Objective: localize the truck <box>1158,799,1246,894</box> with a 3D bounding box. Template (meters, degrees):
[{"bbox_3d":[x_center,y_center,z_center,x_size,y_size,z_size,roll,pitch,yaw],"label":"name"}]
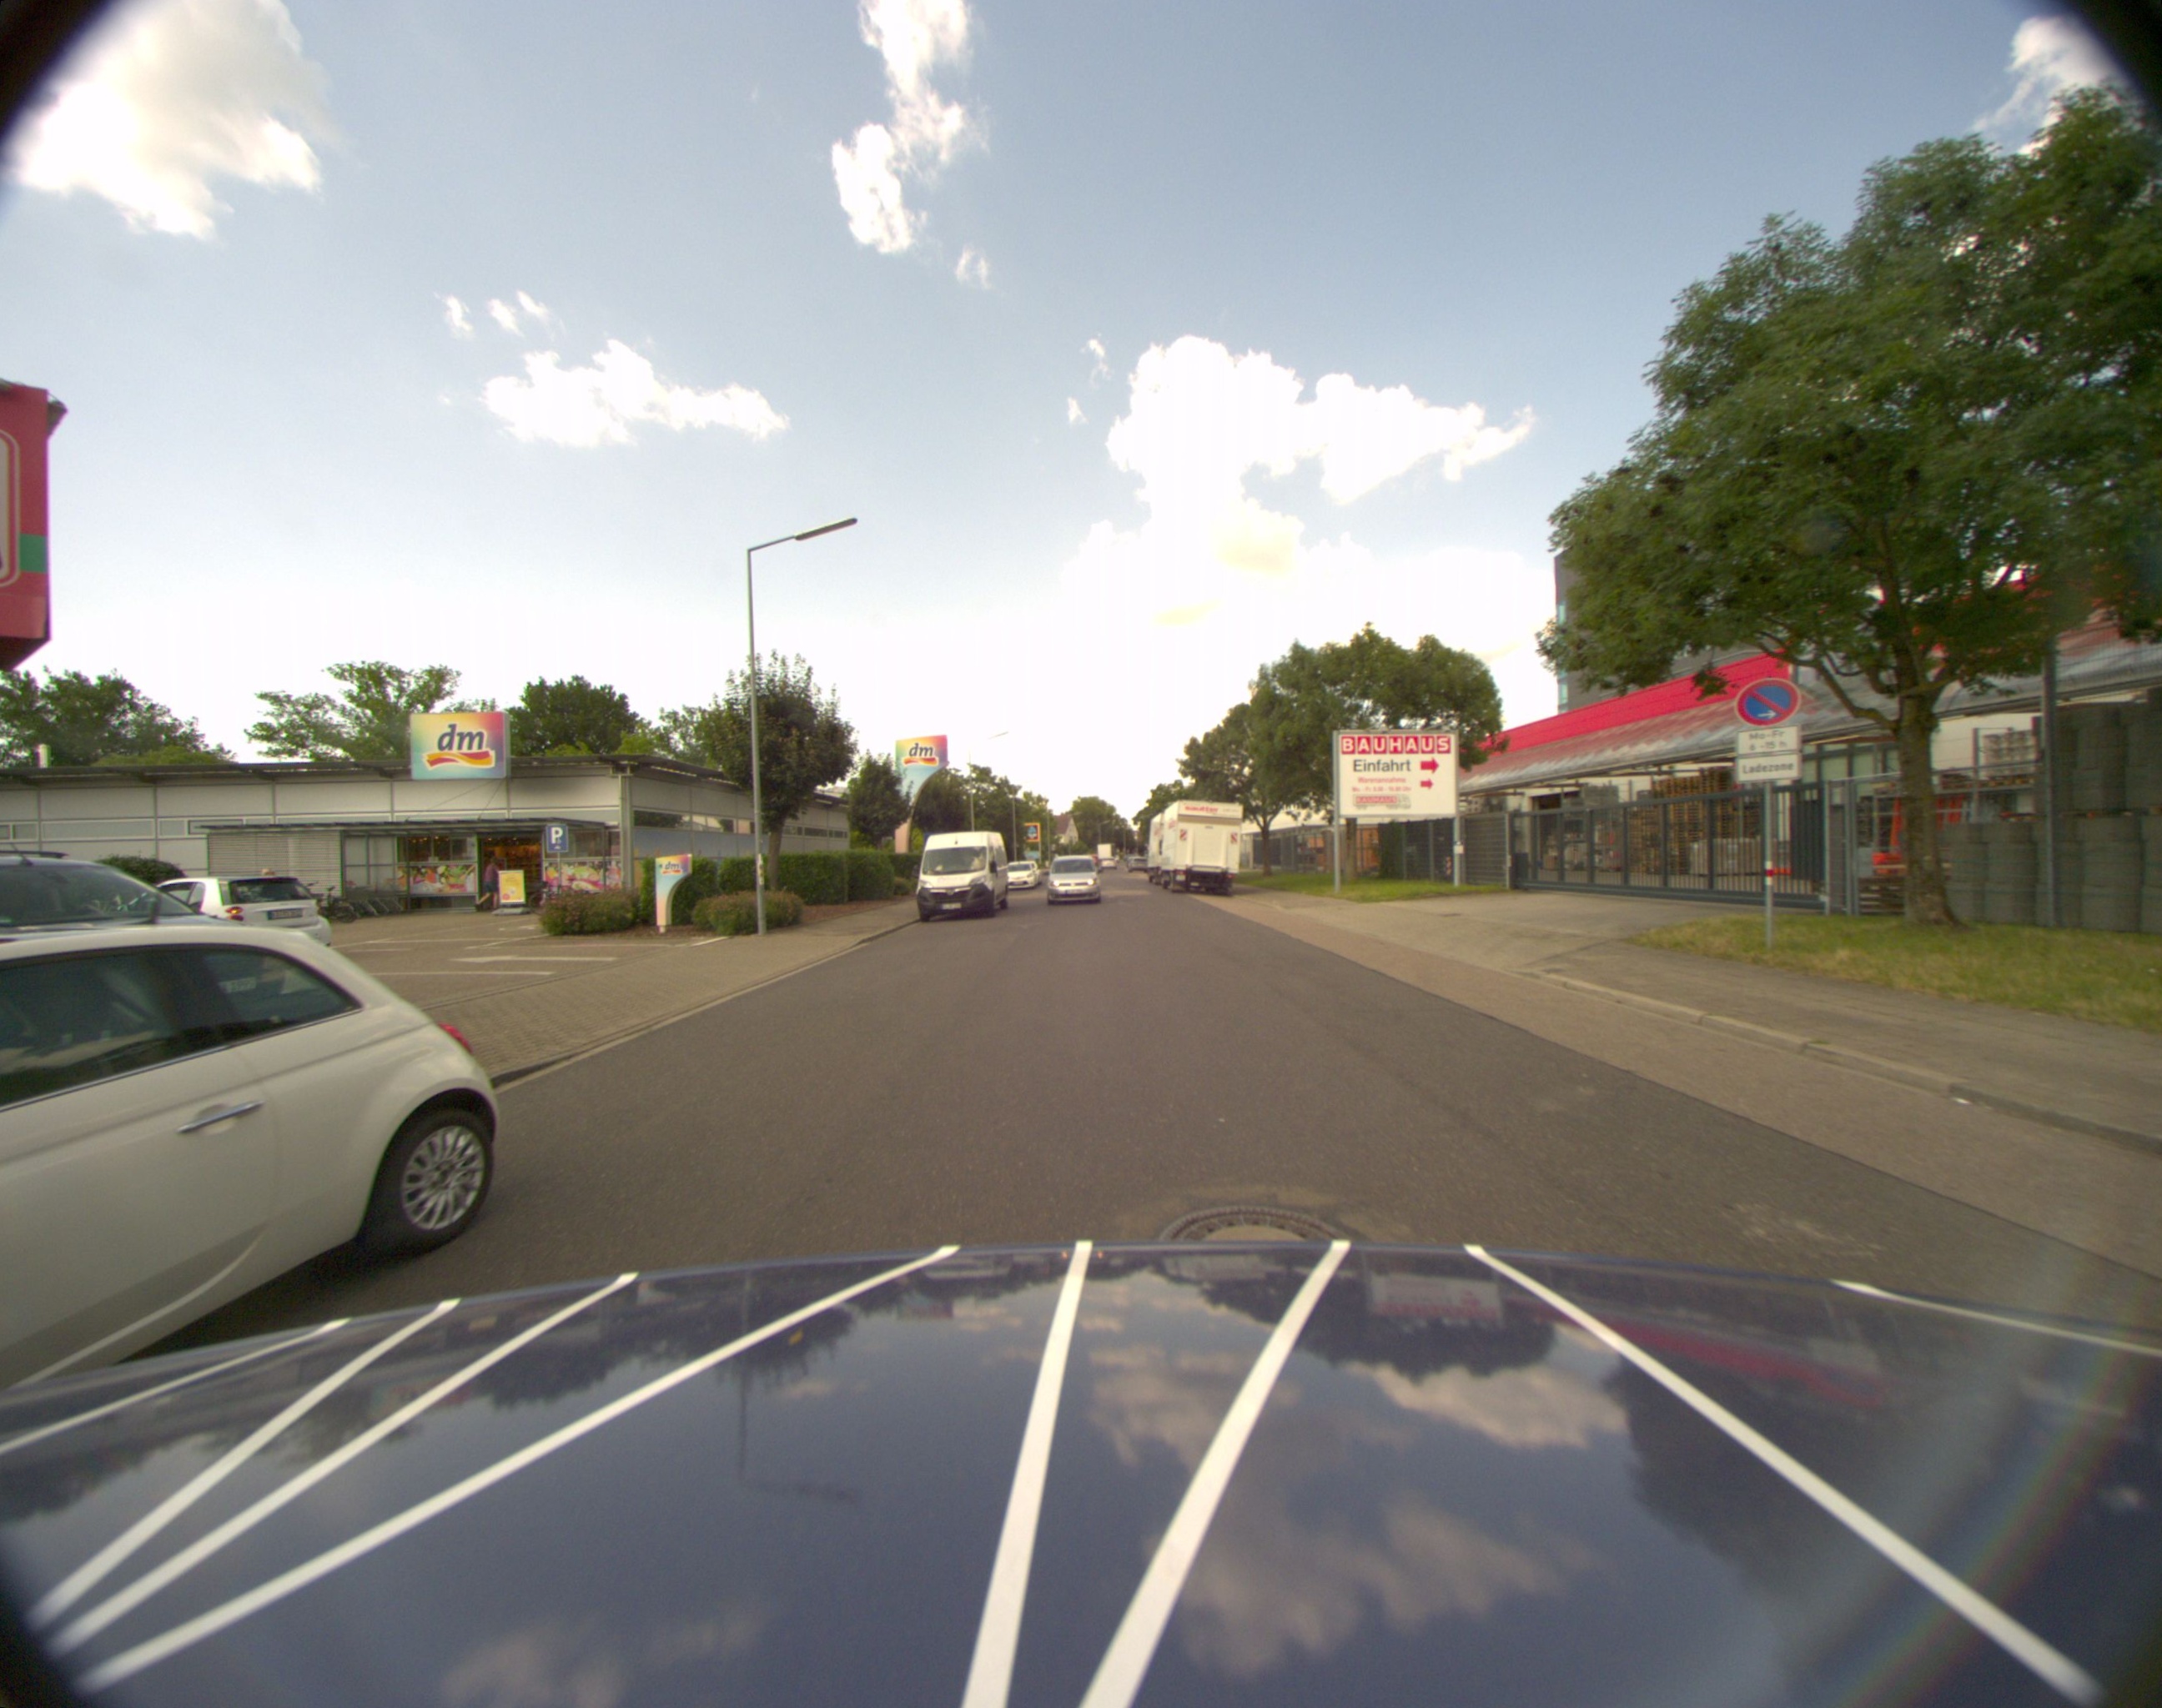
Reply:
[{"bbox_3d":[5.073,-0.335,33.169,2.754,3.701,7.170,0,1,0],"label":"truck"}]

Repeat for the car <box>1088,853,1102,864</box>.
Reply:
[{"bbox_3d":[1.996,0.596,108.880,1.856,1.467,4.000,-2,0,0],"label":"car"}]

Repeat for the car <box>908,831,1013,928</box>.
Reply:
[{"bbox_3d":[-3.375,0.648,22.516,2.057,2.395,5.454,-4,0,0],"label":"car"}]

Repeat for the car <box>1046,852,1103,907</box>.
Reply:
[{"bbox_3d":[-0.135,0.815,26.575,1.744,1.674,4.592,-3,0,1],"label":"car"}]

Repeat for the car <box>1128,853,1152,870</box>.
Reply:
[{"bbox_3d":[5.640,0.720,72.772,1.982,1.565,4.000,-2,0,0],"label":"car"}]

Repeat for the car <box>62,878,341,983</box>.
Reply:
[{"bbox_3d":[-14.692,1.231,12.826,2.717,1.534,1.646,-2,0,-1],"label":"car"}]

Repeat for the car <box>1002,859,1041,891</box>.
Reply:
[{"bbox_3d":[-3.106,1.067,40.152,1.698,1.448,3.549,-4,0,0],"label":"car"}]

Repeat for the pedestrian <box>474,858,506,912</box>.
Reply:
[{"bbox_3d":[-18.927,0.989,24.336,0.528,1.691,0.546,-1,1,1],"label":"pedestrian"}]

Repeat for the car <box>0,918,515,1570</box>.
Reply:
[{"bbox_3d":[-3.566,1.123,1.875,1.549,1.502,3.625,-4,0,-1],"label":"car"}]

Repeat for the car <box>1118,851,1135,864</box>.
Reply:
[{"bbox_3d":[5.796,0.404,96.878,1.853,1.565,4.000,-2,0,0],"label":"car"}]

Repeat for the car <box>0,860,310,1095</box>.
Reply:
[{"bbox_3d":[-10.334,0.991,6.786,4.905,1.777,1.902,-1,0,0],"label":"car"}]

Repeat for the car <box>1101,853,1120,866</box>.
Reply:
[{"bbox_3d":[3.382,0.642,88.473,1.982,1.467,4.000,-2,0,0],"label":"car"}]

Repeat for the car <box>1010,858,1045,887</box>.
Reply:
[{"bbox_3d":[-3.101,1.054,44.611,1.698,1.448,3.704,-4,0,0],"label":"car"}]

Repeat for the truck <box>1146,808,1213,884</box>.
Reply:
[{"bbox_3d":[5.244,-0.423,41.657,2.754,3.787,7.171,0,0,0],"label":"truck"}]

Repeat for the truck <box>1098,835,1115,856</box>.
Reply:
[{"bbox_3d":[5.090,-1.681,153.244,2.979,4.132,9.666,-2,0,0],"label":"truck"}]
